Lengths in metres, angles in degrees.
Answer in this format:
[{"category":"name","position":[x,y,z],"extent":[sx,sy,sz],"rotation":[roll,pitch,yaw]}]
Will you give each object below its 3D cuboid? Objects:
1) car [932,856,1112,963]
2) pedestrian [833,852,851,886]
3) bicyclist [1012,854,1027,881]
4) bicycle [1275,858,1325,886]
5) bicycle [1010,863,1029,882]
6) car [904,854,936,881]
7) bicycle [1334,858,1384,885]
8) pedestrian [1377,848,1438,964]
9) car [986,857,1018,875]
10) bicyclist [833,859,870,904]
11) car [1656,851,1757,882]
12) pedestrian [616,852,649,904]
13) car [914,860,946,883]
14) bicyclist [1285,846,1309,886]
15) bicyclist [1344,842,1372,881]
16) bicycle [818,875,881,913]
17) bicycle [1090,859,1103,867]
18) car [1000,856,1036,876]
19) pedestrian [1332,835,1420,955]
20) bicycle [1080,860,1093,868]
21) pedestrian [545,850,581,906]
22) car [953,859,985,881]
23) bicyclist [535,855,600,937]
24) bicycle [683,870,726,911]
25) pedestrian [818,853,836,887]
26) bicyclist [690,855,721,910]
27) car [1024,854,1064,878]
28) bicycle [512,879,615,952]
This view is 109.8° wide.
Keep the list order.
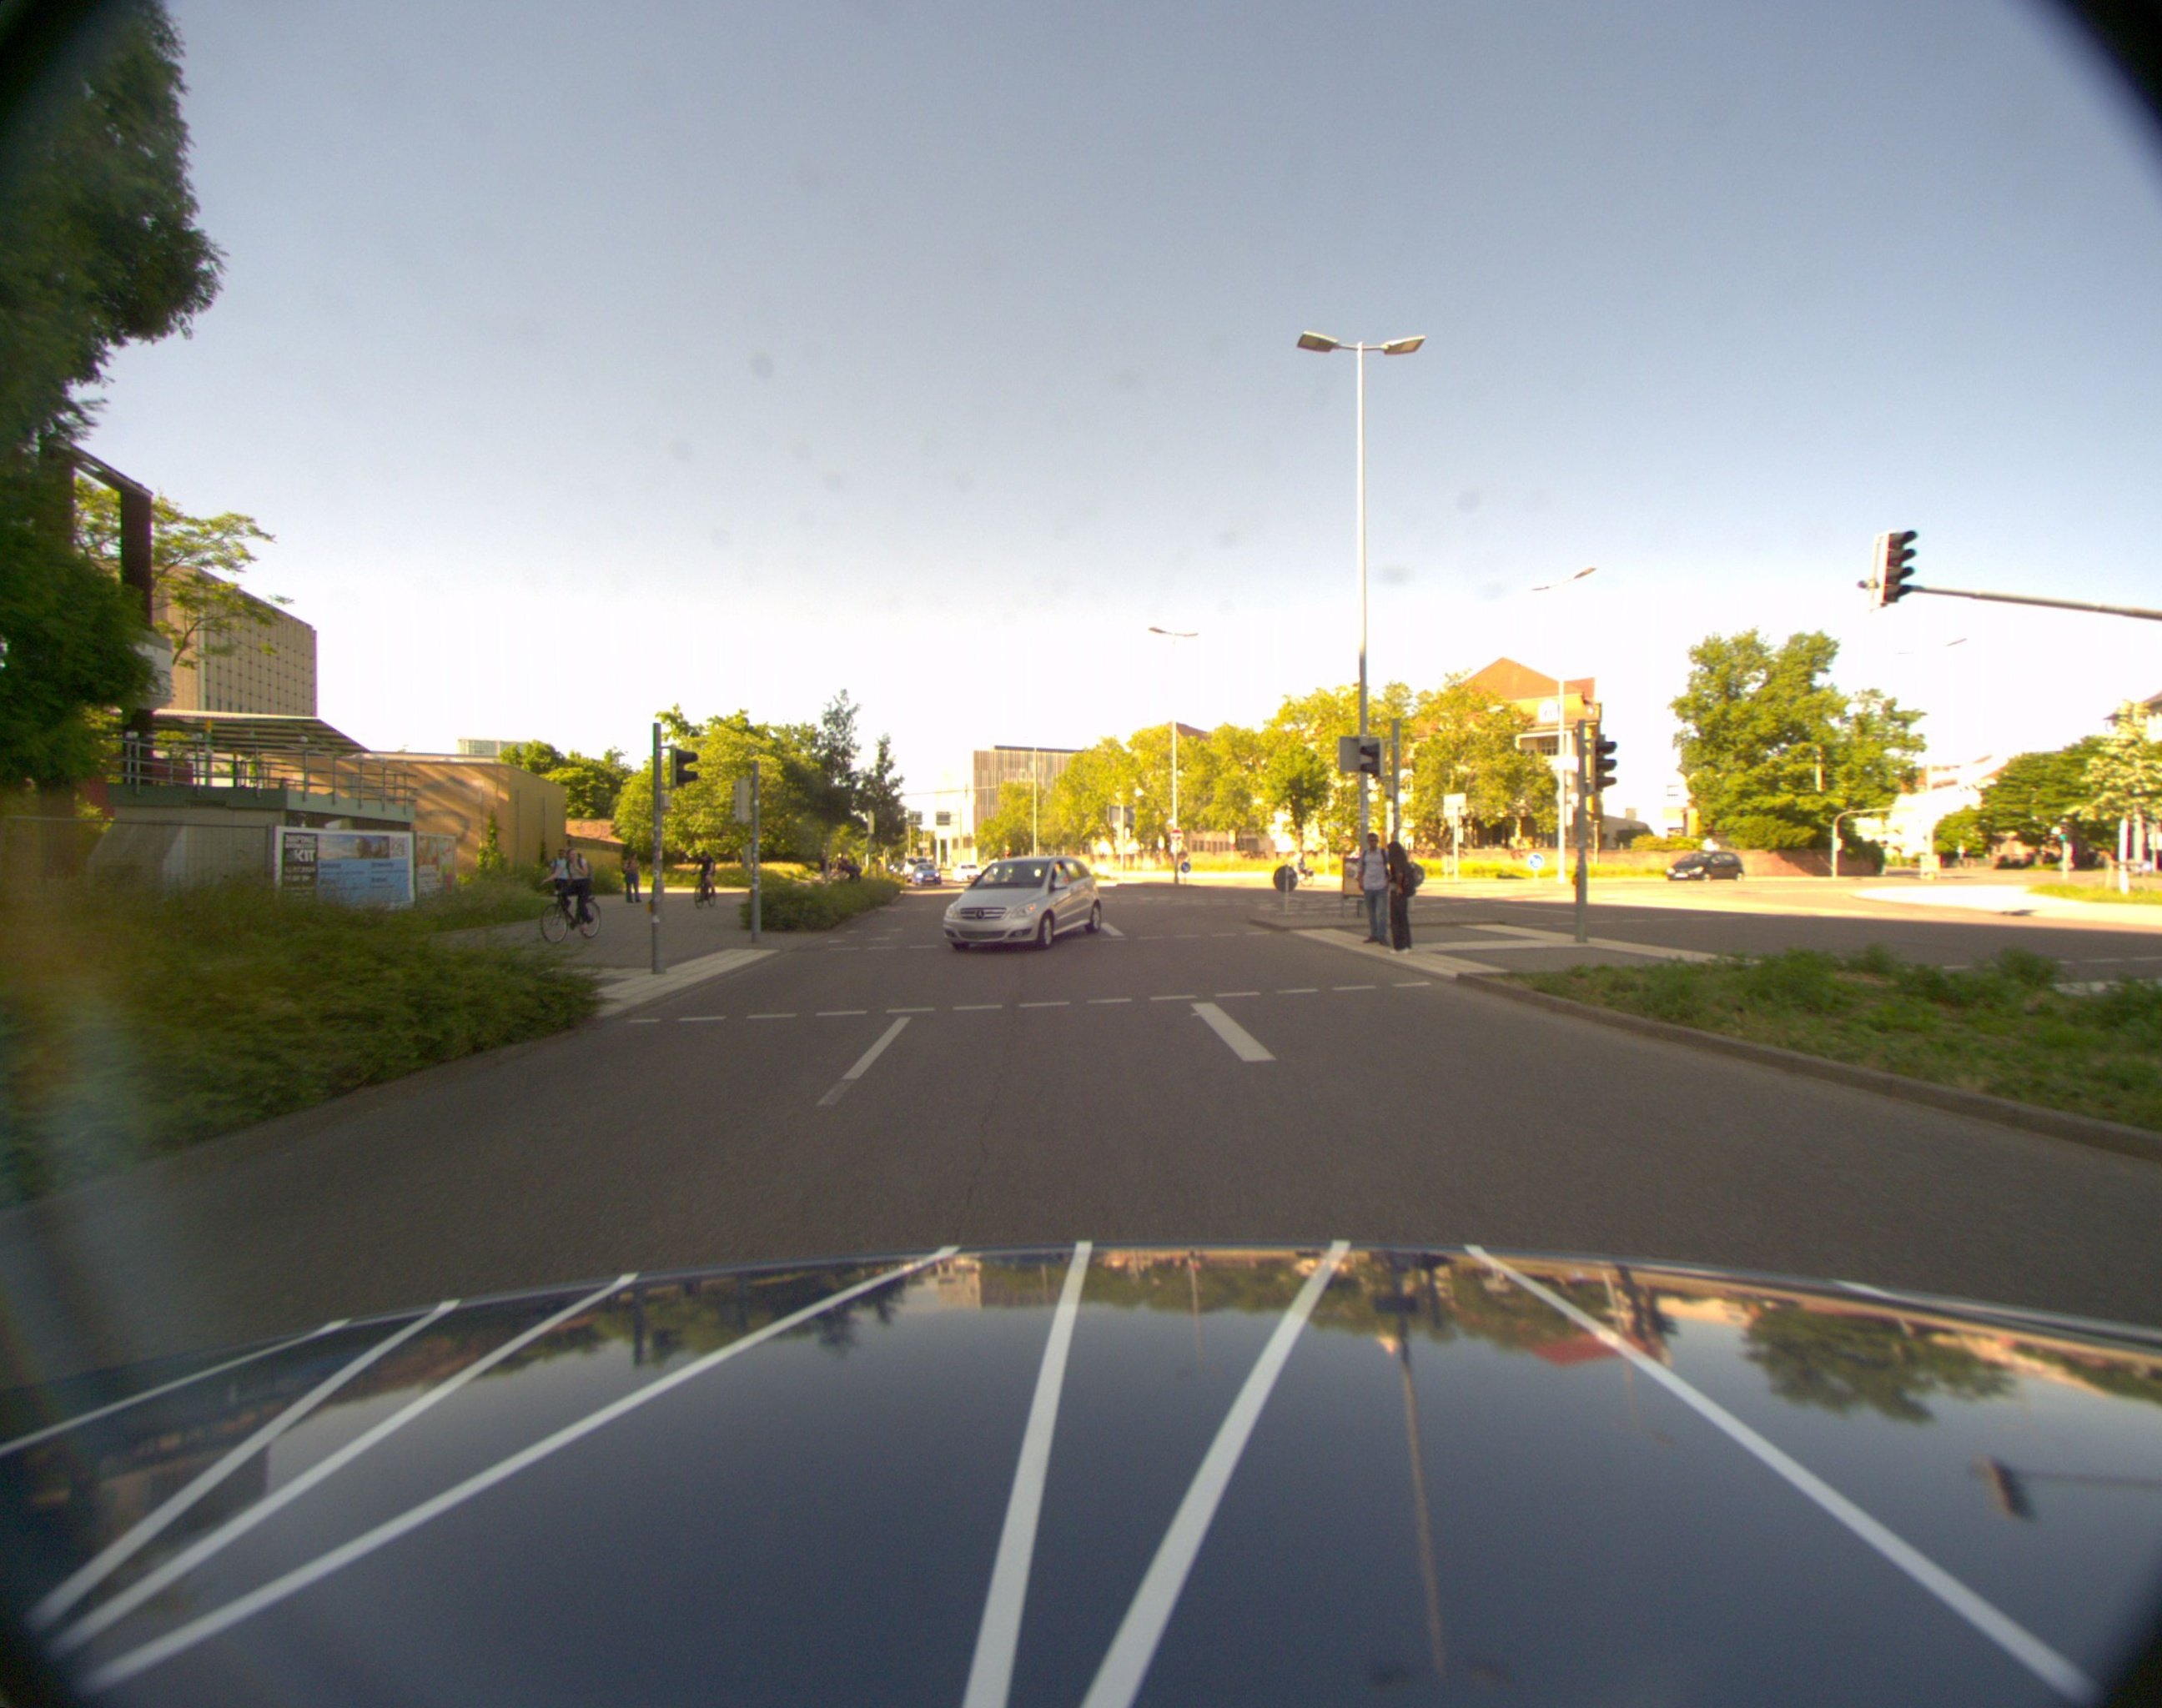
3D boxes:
[{"category":"car","position":[-0.895,0.916,14.563],"extent":[1.768,1.585,4.643],"rotation":[-1,1,18]},{"category":"pedestrian","position":[-12.612,0.800,40.186],"extent":[0.731,1.805,0.736],"rotation":[-1,-2,-3]},{"category":"bicyclist","position":[-3.956,0.860,48.891],"extent":[0.747,1.675,0.976],"rotation":[0,1,-18]},{"category":"bicycle","position":[9.330,0.775,32.375],"extent":[1.967,1.158,0.643],"rotation":[0,-1,-6]},{"category":"bicycle","position":[-3.978,1.176,48.993],"extent":[0.749,1.158,1.867],"rotation":[0,1,-18]},{"category":"car","position":[-12.152,1.003,57.244],"extent":[1.940,1.941,4.750],"rotation":[-2,0,-16]},{"category":"bicycle","position":[11.865,0.741,32.385],"extent":[1.970,1.158,0.778],"rotation":[0,-1,-21]},{"category":"pedestrian","position":[4.648,0.718,10.854],"extent":[0.680,1.603,0.720],"rotation":[-1,1,14]},{"category":"car","position":[-7.288,1.072,69.749],"extent":[1.985,1.545,4.717],"rotation":[-2,0,-16]},{"category":"bicyclist","position":[-7.608,0.890,25.151],"extent":[0.955,1.436,0.641],"rotation":[-1,0,-44]},{"category":"car","position":[31.311,0.612,38.051],"extent":[4.302,1.464,1.997],"rotation":[0,-2,-21]},{"category":"pedestrian","position":[-14.246,0.764,24.144],"extent":[0.734,1.633,0.679],"rotation":[-3,-2,38]},{"category":"car","position":[-10.162,1.152,50.822],"extent":[1.706,1.433,3.994],"rotation":[-2,0,-16]},{"category":"bicyclist","position":[9.210,0.502,32.373],"extent":[0.776,1.653,0.643],"rotation":[-1,0,-5]},{"category":"bicyclist","position":[11.795,0.318,32.368],"extent":[0.777,1.653,0.784],"rotation":[-1,0,-21]},{"category":"bicycle","position":[-7.641,1.305,25.115],"extent":[1.874,1.158,0.641],"rotation":[-2,0,-44]},{"category":"bicycle","position":[2.166,1.303,107.057],"extent":[0.797,1.069,2.081],"rotation":[0,-3,-35]},{"category":"car","position":[-5.250,0.969,62.362],"extent":[1.985,1.545,4.717],"rotation":[-2,0,-16]},{"category":"pedestrian","position":[4.710,0.618,12.127],"extent":[1.097,1.822,0.754],"rotation":[-2,1,-29]},{"category":"bicycle","position":[0.767,1.407,108.930],"extent":[0.797,1.069,2.081],"rotation":[0,-3,-35]},{"category":"pedestrian","position":[-15.344,0.714,22.512],"extent":[0.734,1.633,0.679],"rotation":[-2,-2,36]},{"category":"car","position":[-7.999,1.106,53.980],"extent":[2.001,1.460,3.996],"rotation":[-1,0,-12]},{"category":"bicyclist","position":[-9.362,0.742,13.869],"extent":[0.643,1.436,0.776],"rotation":[1,0,-3]},{"category":"bicycle","position":[-11.281,1.060,22.816],"extent":[0.643,1.158,1.868],"rotation":[0,0,-10]},{"category":"pedestrian","position":[-13.457,0.836,40.288],"extent":[0.731,1.770,0.736],"rotation":[-1,-2,-3]},{"category":"bicyclist","position":[-11.286,0.838,22.871],"extent":[0.643,1.635,0.776],"rotation":[0,0,-11]},{"category":"car","position":[-2.681,0.854,53.784],"extent":[1.791,1.615,4.310],"rotation":[-2,0,-17]},{"category":"bicycle","position":[-9.367,1.076,13.843],"extent":[0.643,1.158,1.870],"rotation":[1,0,-2]}]
